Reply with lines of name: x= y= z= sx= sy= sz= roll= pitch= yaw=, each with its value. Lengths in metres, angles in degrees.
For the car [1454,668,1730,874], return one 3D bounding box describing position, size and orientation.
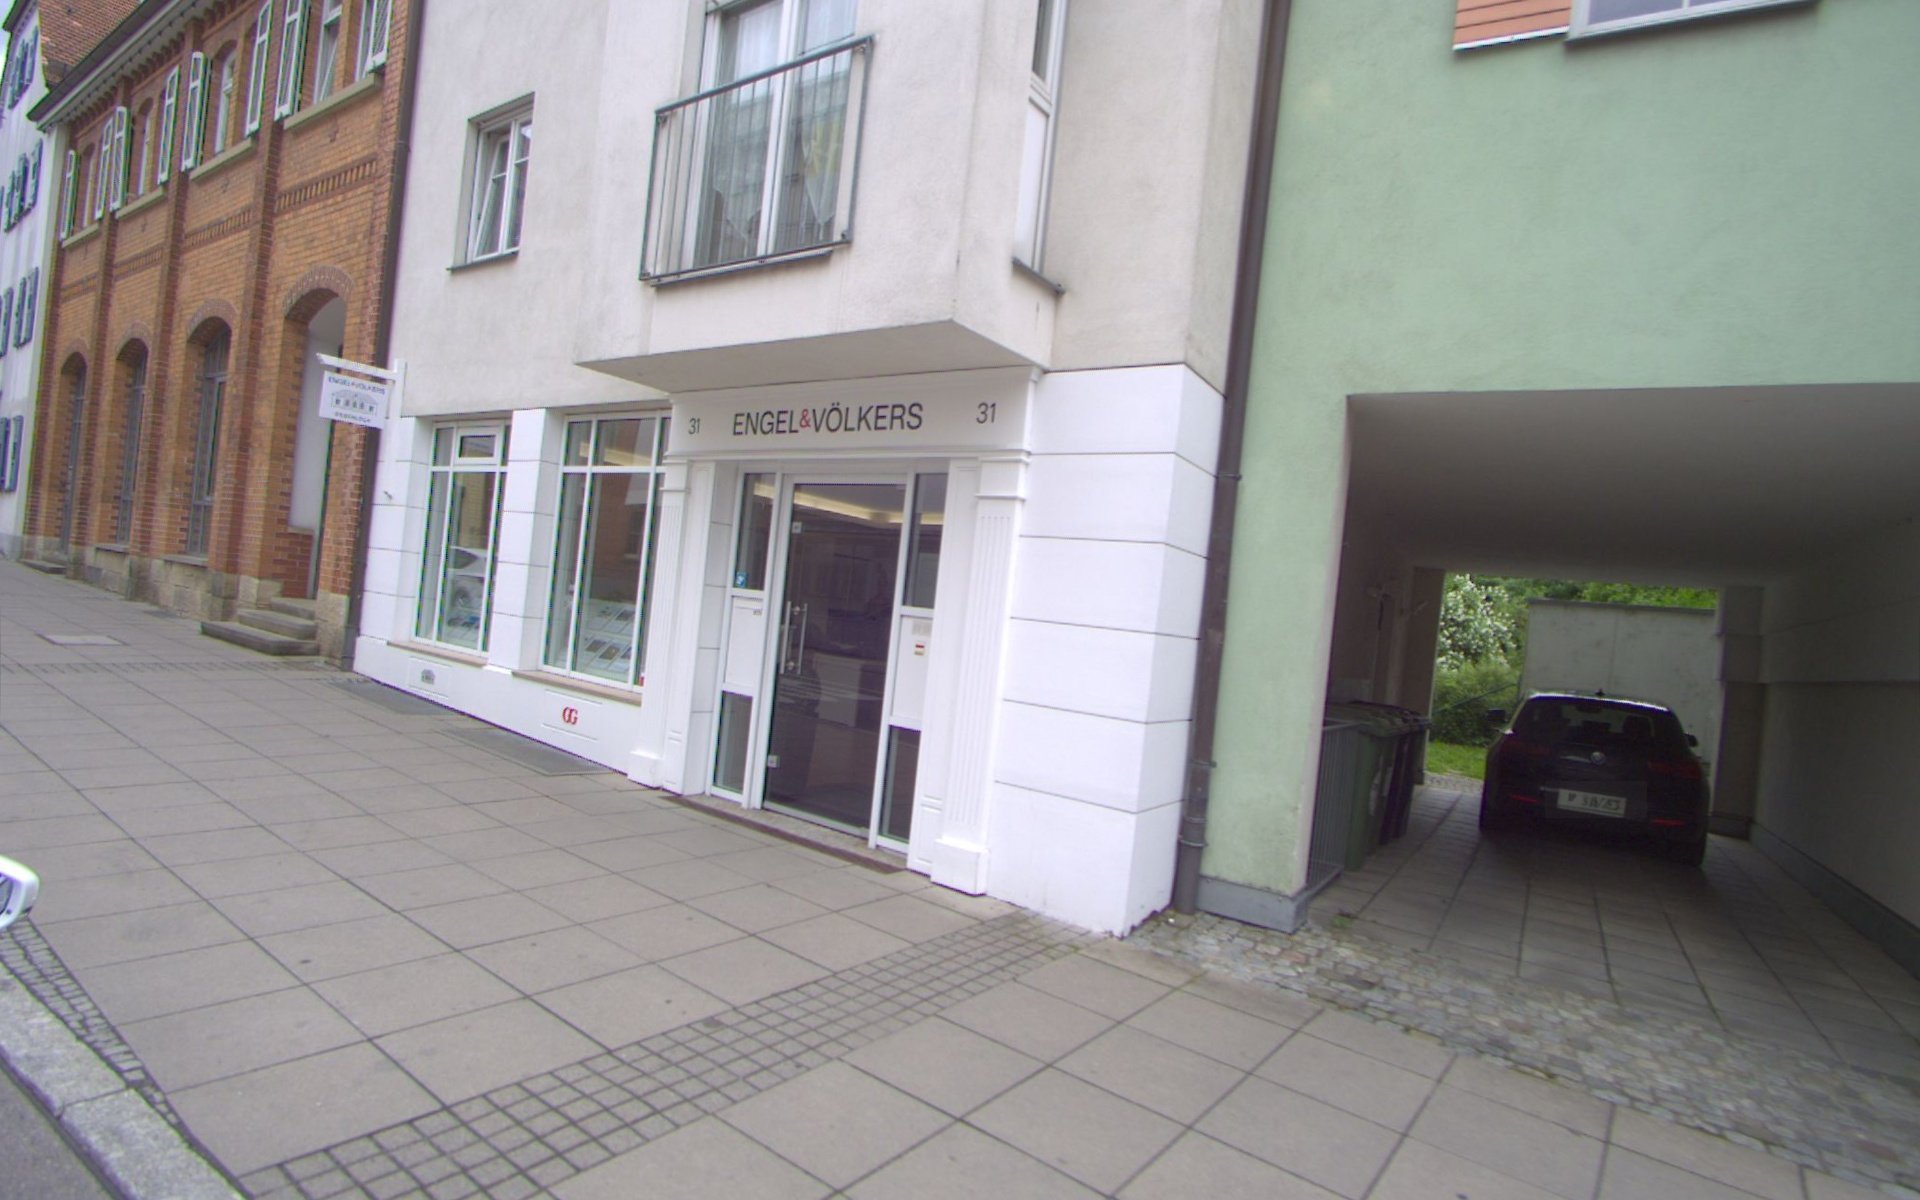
car: x=6.496 y=1.566 z=10.244 sx=1.871 sy=1.415 sz=3.987 roll=7 pitch=0 yaw=36
